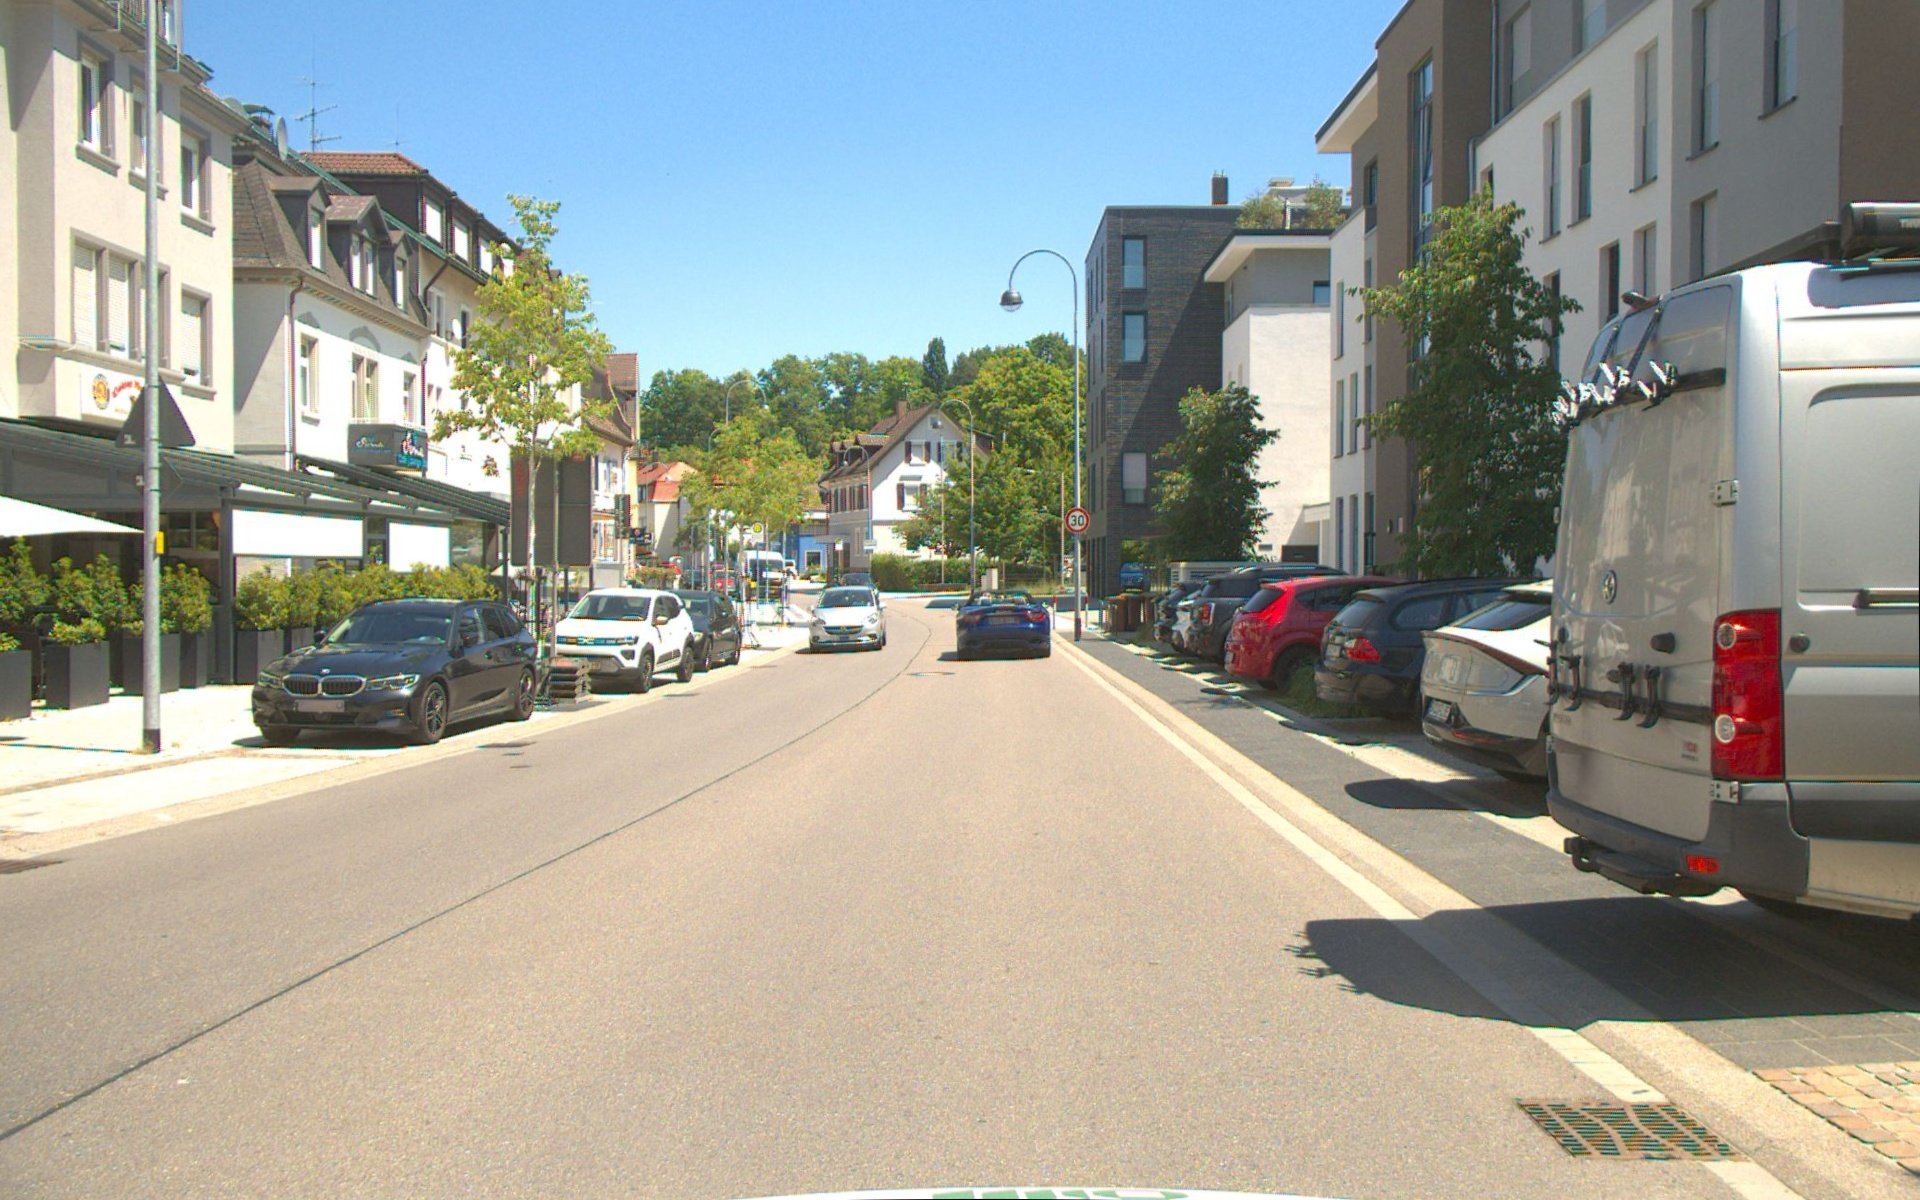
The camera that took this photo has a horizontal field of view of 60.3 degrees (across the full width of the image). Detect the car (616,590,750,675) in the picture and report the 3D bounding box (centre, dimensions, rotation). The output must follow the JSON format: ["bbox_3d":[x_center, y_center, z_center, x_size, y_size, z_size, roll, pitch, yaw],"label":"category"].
[{"bbox_3d":[-5.167,0.568,31.336,1.635,1.469,4.012,0,1,4],"label":"car"}]

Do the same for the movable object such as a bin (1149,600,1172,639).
[{"bbox_3d":[4.921,0.479,40.640,0.484,0.945,0.623,-2,0,2],"label":"movable object such as a bin"}]

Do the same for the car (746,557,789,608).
[{"bbox_3d":[-9.591,-0.864,82.149,1.833,2.442,4.807,0,1,-10],"label":"car"}]

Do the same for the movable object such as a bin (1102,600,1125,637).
[{"bbox_3d":[4.083,0.493,44.040,0.525,0.945,0.623,-2,0,2],"label":"movable object such as a bin"}]

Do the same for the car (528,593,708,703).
[{"bbox_3d":[-5.255,0.676,25.889,1.610,1.505,3.944,1,1,6],"label":"car"}]

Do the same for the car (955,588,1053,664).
[{"bbox_3d":[0.966,0.476,33.851,1.831,1.365,4.598,-2,1,3],"label":"car"}]

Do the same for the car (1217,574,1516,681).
[{"bbox_3d":[5.798,0.377,23.918,3.899,1.457,1.763,0,0,0],"label":"car"}]

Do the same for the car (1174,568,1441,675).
[{"bbox_3d":[5.529,0.331,26.692,3.899,1.633,1.943,0,0,0],"label":"car"}]

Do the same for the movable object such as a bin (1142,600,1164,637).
[{"bbox_3d":[5.133,0.485,44.008,0.484,0.945,0.623,-2,0,2],"label":"movable object such as a bin"}]

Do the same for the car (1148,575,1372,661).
[{"bbox_3d":[5.599,0.329,31.179,3.899,1.556,1.740,0,0,0],"label":"car"}]

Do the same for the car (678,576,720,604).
[{"bbox_3d":[-16.210,-0.636,102.707,1.963,1.722,3.979,0,1,-19],"label":"car"}]

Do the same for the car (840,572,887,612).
[{"bbox_3d":[-4.280,-0.359,72.813,1.631,1.634,3.991,-2,0,-10],"label":"car"}]

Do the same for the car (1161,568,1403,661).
[{"bbox_3d":[5.608,0.244,29.176,3.899,1.556,1.943,0,0,0],"label":"car"}]

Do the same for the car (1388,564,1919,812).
[{"bbox_3d":[5.457,0.552,11.458,4.493,1.556,2.000,0,0,1],"label":"car"}]

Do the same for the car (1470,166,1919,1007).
[{"bbox_3d":[5.269,-0.067,6.559,5.817,2.780,2.196,0,0,0],"label":"car"}]

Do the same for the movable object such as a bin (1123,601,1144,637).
[{"bbox_3d":[4.620,0.505,44.013,0.484,0.945,0.623,-2,0,2],"label":"movable object such as a bin"}]

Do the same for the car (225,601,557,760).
[{"bbox_3d":[-6.131,0.785,18.501,1.796,1.454,4.785,1,1,3],"label":"car"}]

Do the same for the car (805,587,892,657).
[{"bbox_3d":[-2.580,0.482,39.191,1.652,1.483,4.059,-2,1,1],"label":"car"}]

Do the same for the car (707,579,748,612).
[{"bbox_3d":[-12.803,-0.239,90.832,1.959,1.769,3.988,-1,0,-12],"label":"car"}]

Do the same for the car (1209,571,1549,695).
[{"bbox_3d":[5.301,0.402,21.296,3.889,1.433,1.857,-1,0,-1],"label":"car"}]

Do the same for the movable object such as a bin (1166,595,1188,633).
[{"bbox_3d":[5.462,0.342,41.663,0.484,0.945,0.623,-1,0,2],"label":"movable object such as a bin"}]

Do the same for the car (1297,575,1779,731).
[{"bbox_3d":[5.692,0.496,16.649,4.172,1.441,1.927,0,0,-3],"label":"car"}]
